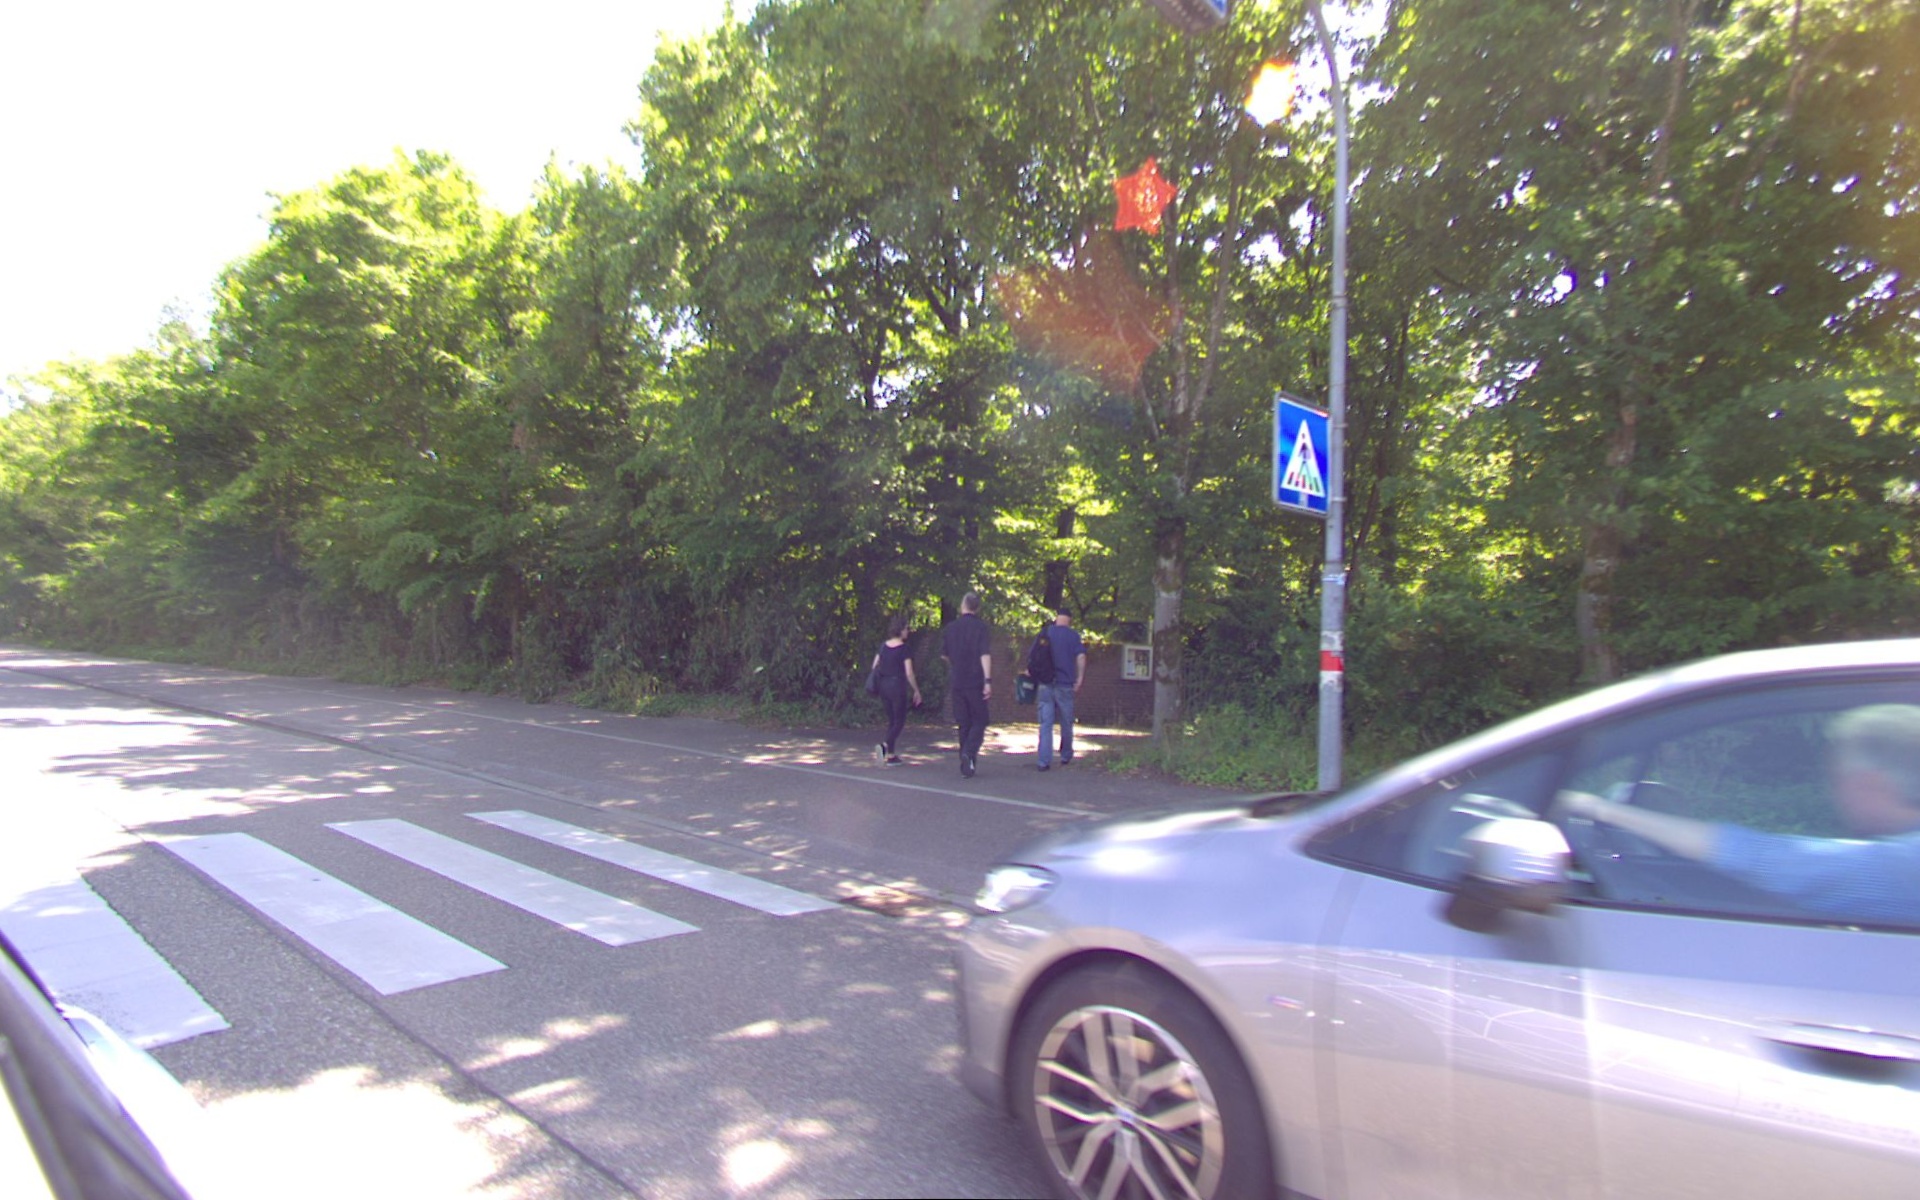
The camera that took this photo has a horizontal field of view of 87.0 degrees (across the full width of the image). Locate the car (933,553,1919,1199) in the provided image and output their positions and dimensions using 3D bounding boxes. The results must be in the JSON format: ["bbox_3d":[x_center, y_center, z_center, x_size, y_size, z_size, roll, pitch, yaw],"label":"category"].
[{"bbox_3d":[2.157,0.794,2.110,4.194,1.544,1.871,-1,-7,41],"label":"car"}]

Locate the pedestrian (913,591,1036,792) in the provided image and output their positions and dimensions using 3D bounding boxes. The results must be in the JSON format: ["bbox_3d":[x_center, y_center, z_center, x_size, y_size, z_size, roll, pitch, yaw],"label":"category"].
[{"bbox_3d":[0.164,0.853,10.122,0.782,1.878,1.074,0,0,33],"label":"pedestrian"}]

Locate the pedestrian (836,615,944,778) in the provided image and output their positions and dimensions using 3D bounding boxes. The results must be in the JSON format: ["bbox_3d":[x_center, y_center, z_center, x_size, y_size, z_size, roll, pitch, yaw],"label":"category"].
[{"bbox_3d":[-0.741,0.984,10.788,0.779,1.623,0.886,0,0,34],"label":"pedestrian"}]

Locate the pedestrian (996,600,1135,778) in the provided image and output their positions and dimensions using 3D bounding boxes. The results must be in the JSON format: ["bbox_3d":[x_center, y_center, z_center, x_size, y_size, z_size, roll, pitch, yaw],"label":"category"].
[{"bbox_3d":[1.137,0.919,10.838,1.022,1.765,1.144,-3,-3,38],"label":"pedestrian"}]
